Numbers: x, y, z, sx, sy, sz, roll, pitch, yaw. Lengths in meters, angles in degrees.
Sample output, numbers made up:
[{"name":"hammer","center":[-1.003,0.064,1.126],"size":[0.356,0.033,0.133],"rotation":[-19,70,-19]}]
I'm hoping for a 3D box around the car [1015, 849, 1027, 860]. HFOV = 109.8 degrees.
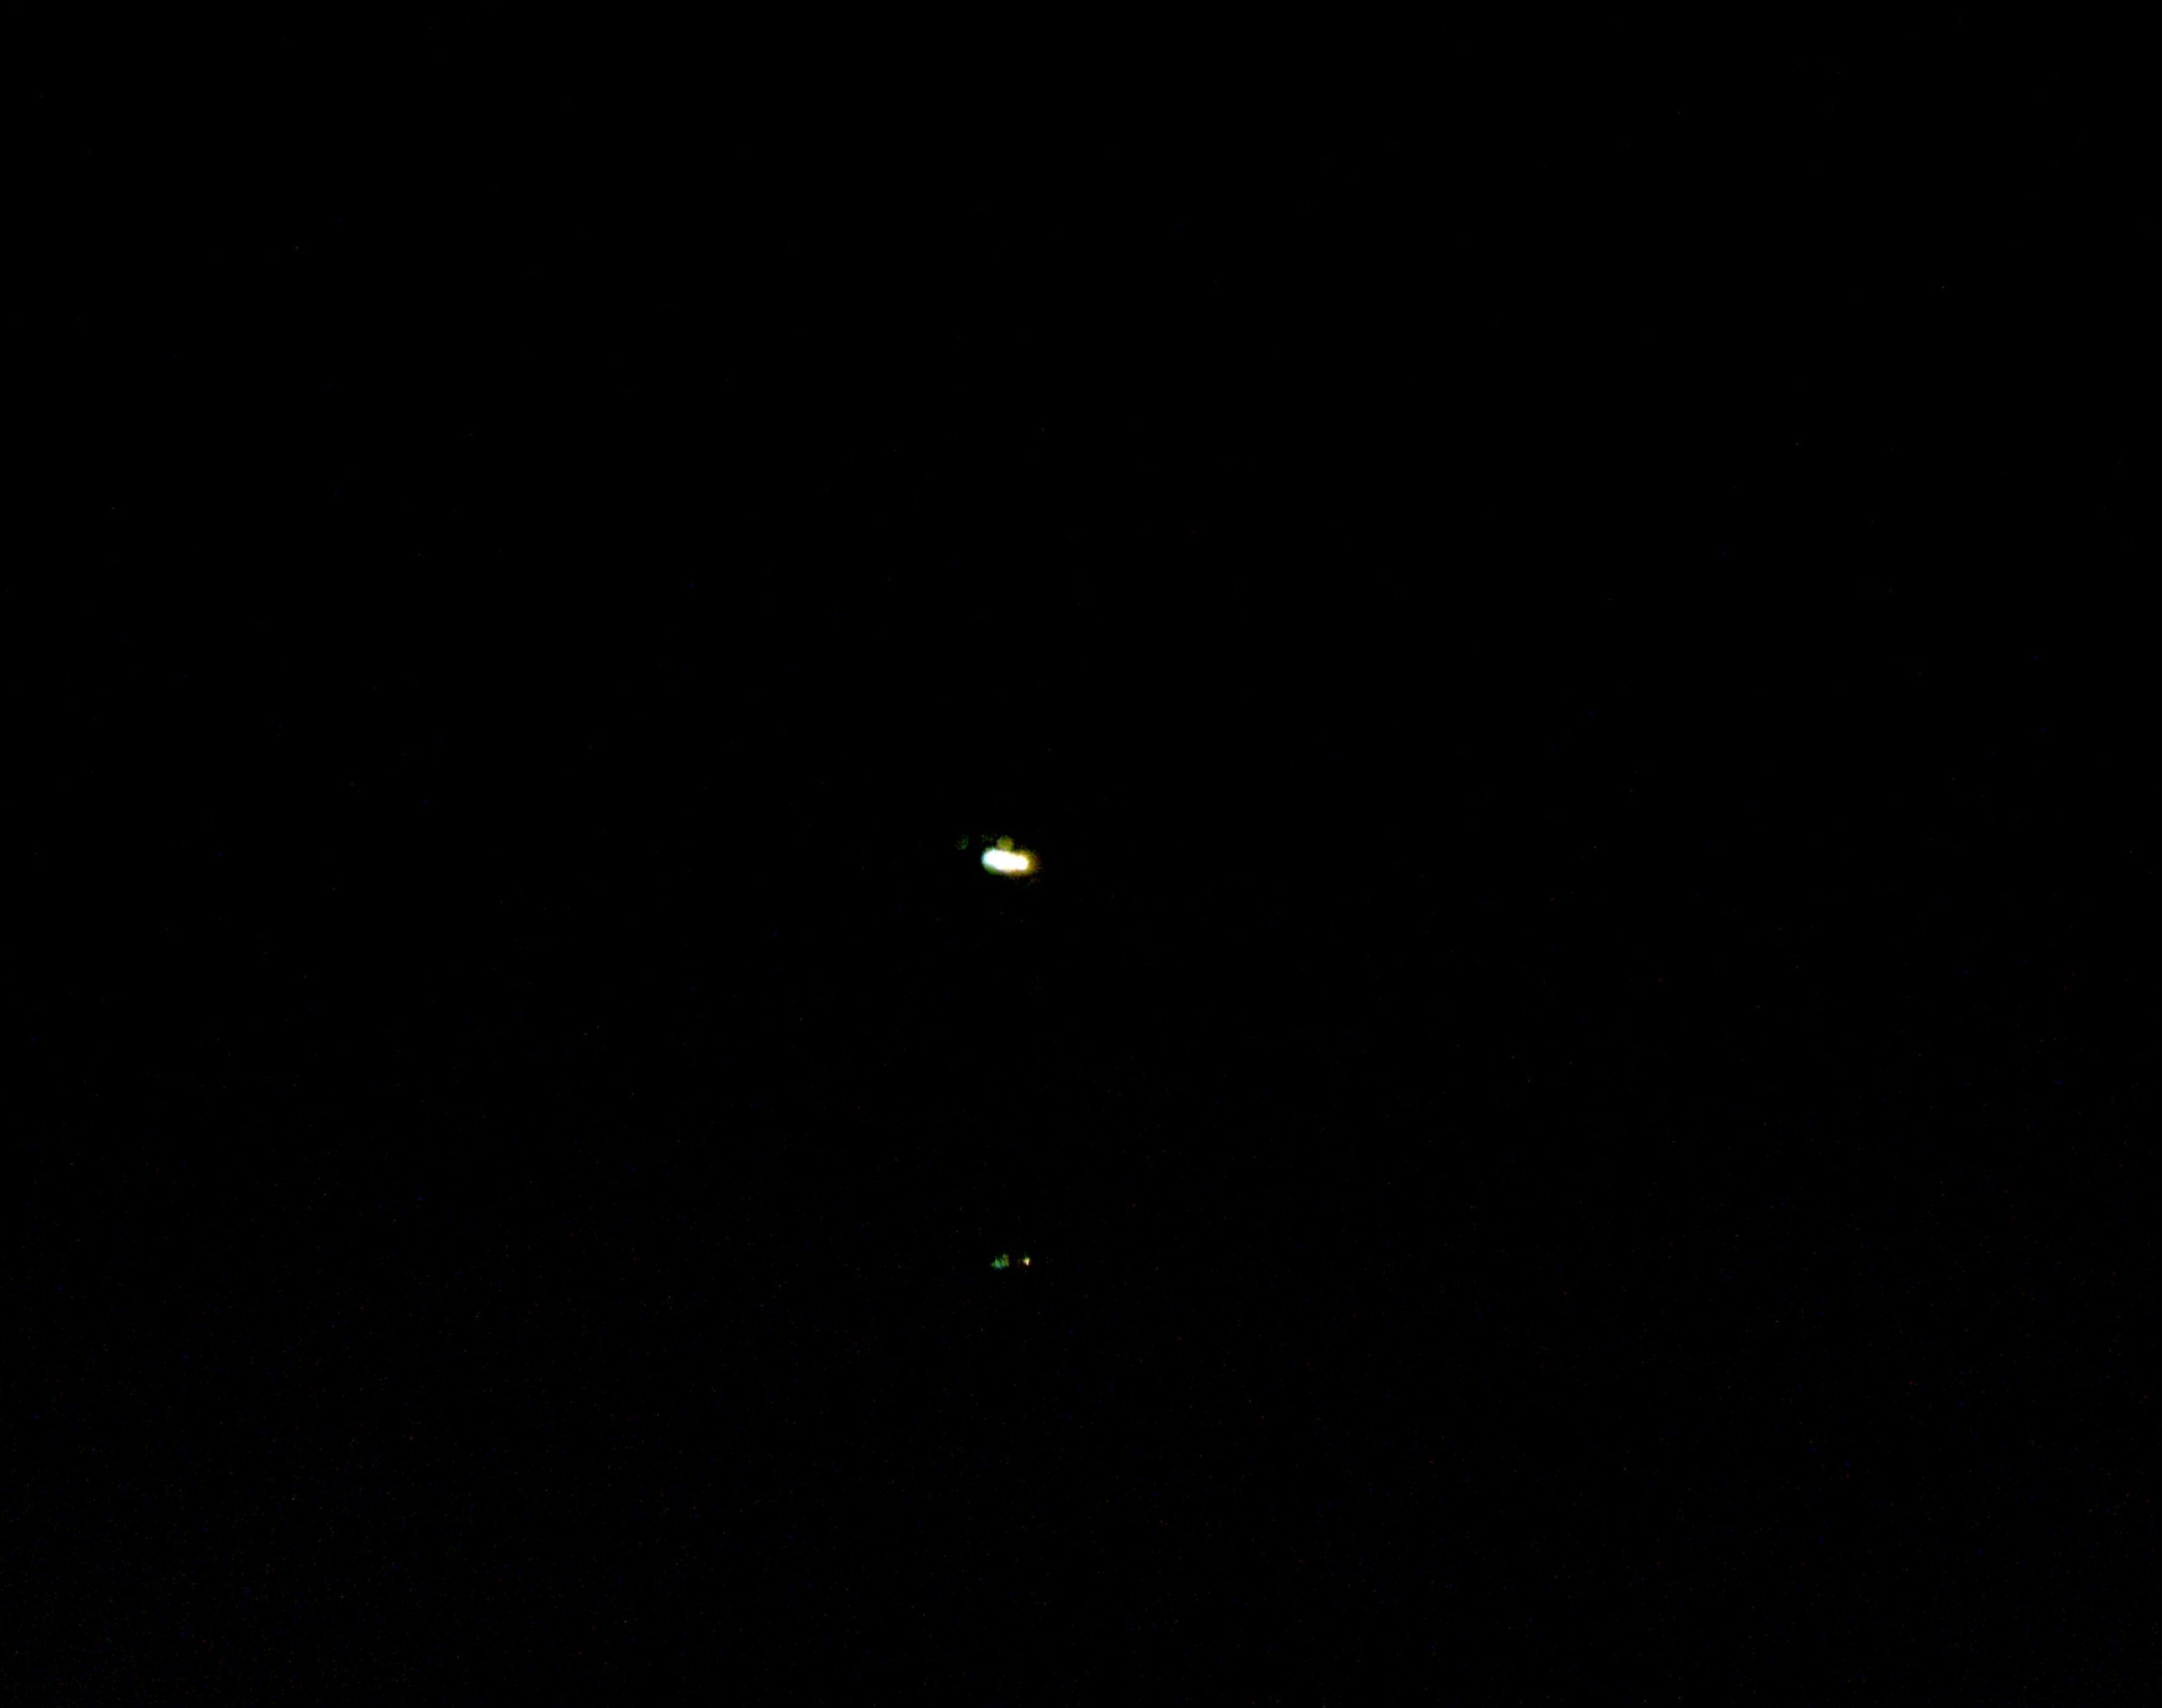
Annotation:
[{"name":"car","center":[-10.854,0.076,137.027],"size":[2.000,2.002,3.996],"rotation":[0,2,-8]}]
